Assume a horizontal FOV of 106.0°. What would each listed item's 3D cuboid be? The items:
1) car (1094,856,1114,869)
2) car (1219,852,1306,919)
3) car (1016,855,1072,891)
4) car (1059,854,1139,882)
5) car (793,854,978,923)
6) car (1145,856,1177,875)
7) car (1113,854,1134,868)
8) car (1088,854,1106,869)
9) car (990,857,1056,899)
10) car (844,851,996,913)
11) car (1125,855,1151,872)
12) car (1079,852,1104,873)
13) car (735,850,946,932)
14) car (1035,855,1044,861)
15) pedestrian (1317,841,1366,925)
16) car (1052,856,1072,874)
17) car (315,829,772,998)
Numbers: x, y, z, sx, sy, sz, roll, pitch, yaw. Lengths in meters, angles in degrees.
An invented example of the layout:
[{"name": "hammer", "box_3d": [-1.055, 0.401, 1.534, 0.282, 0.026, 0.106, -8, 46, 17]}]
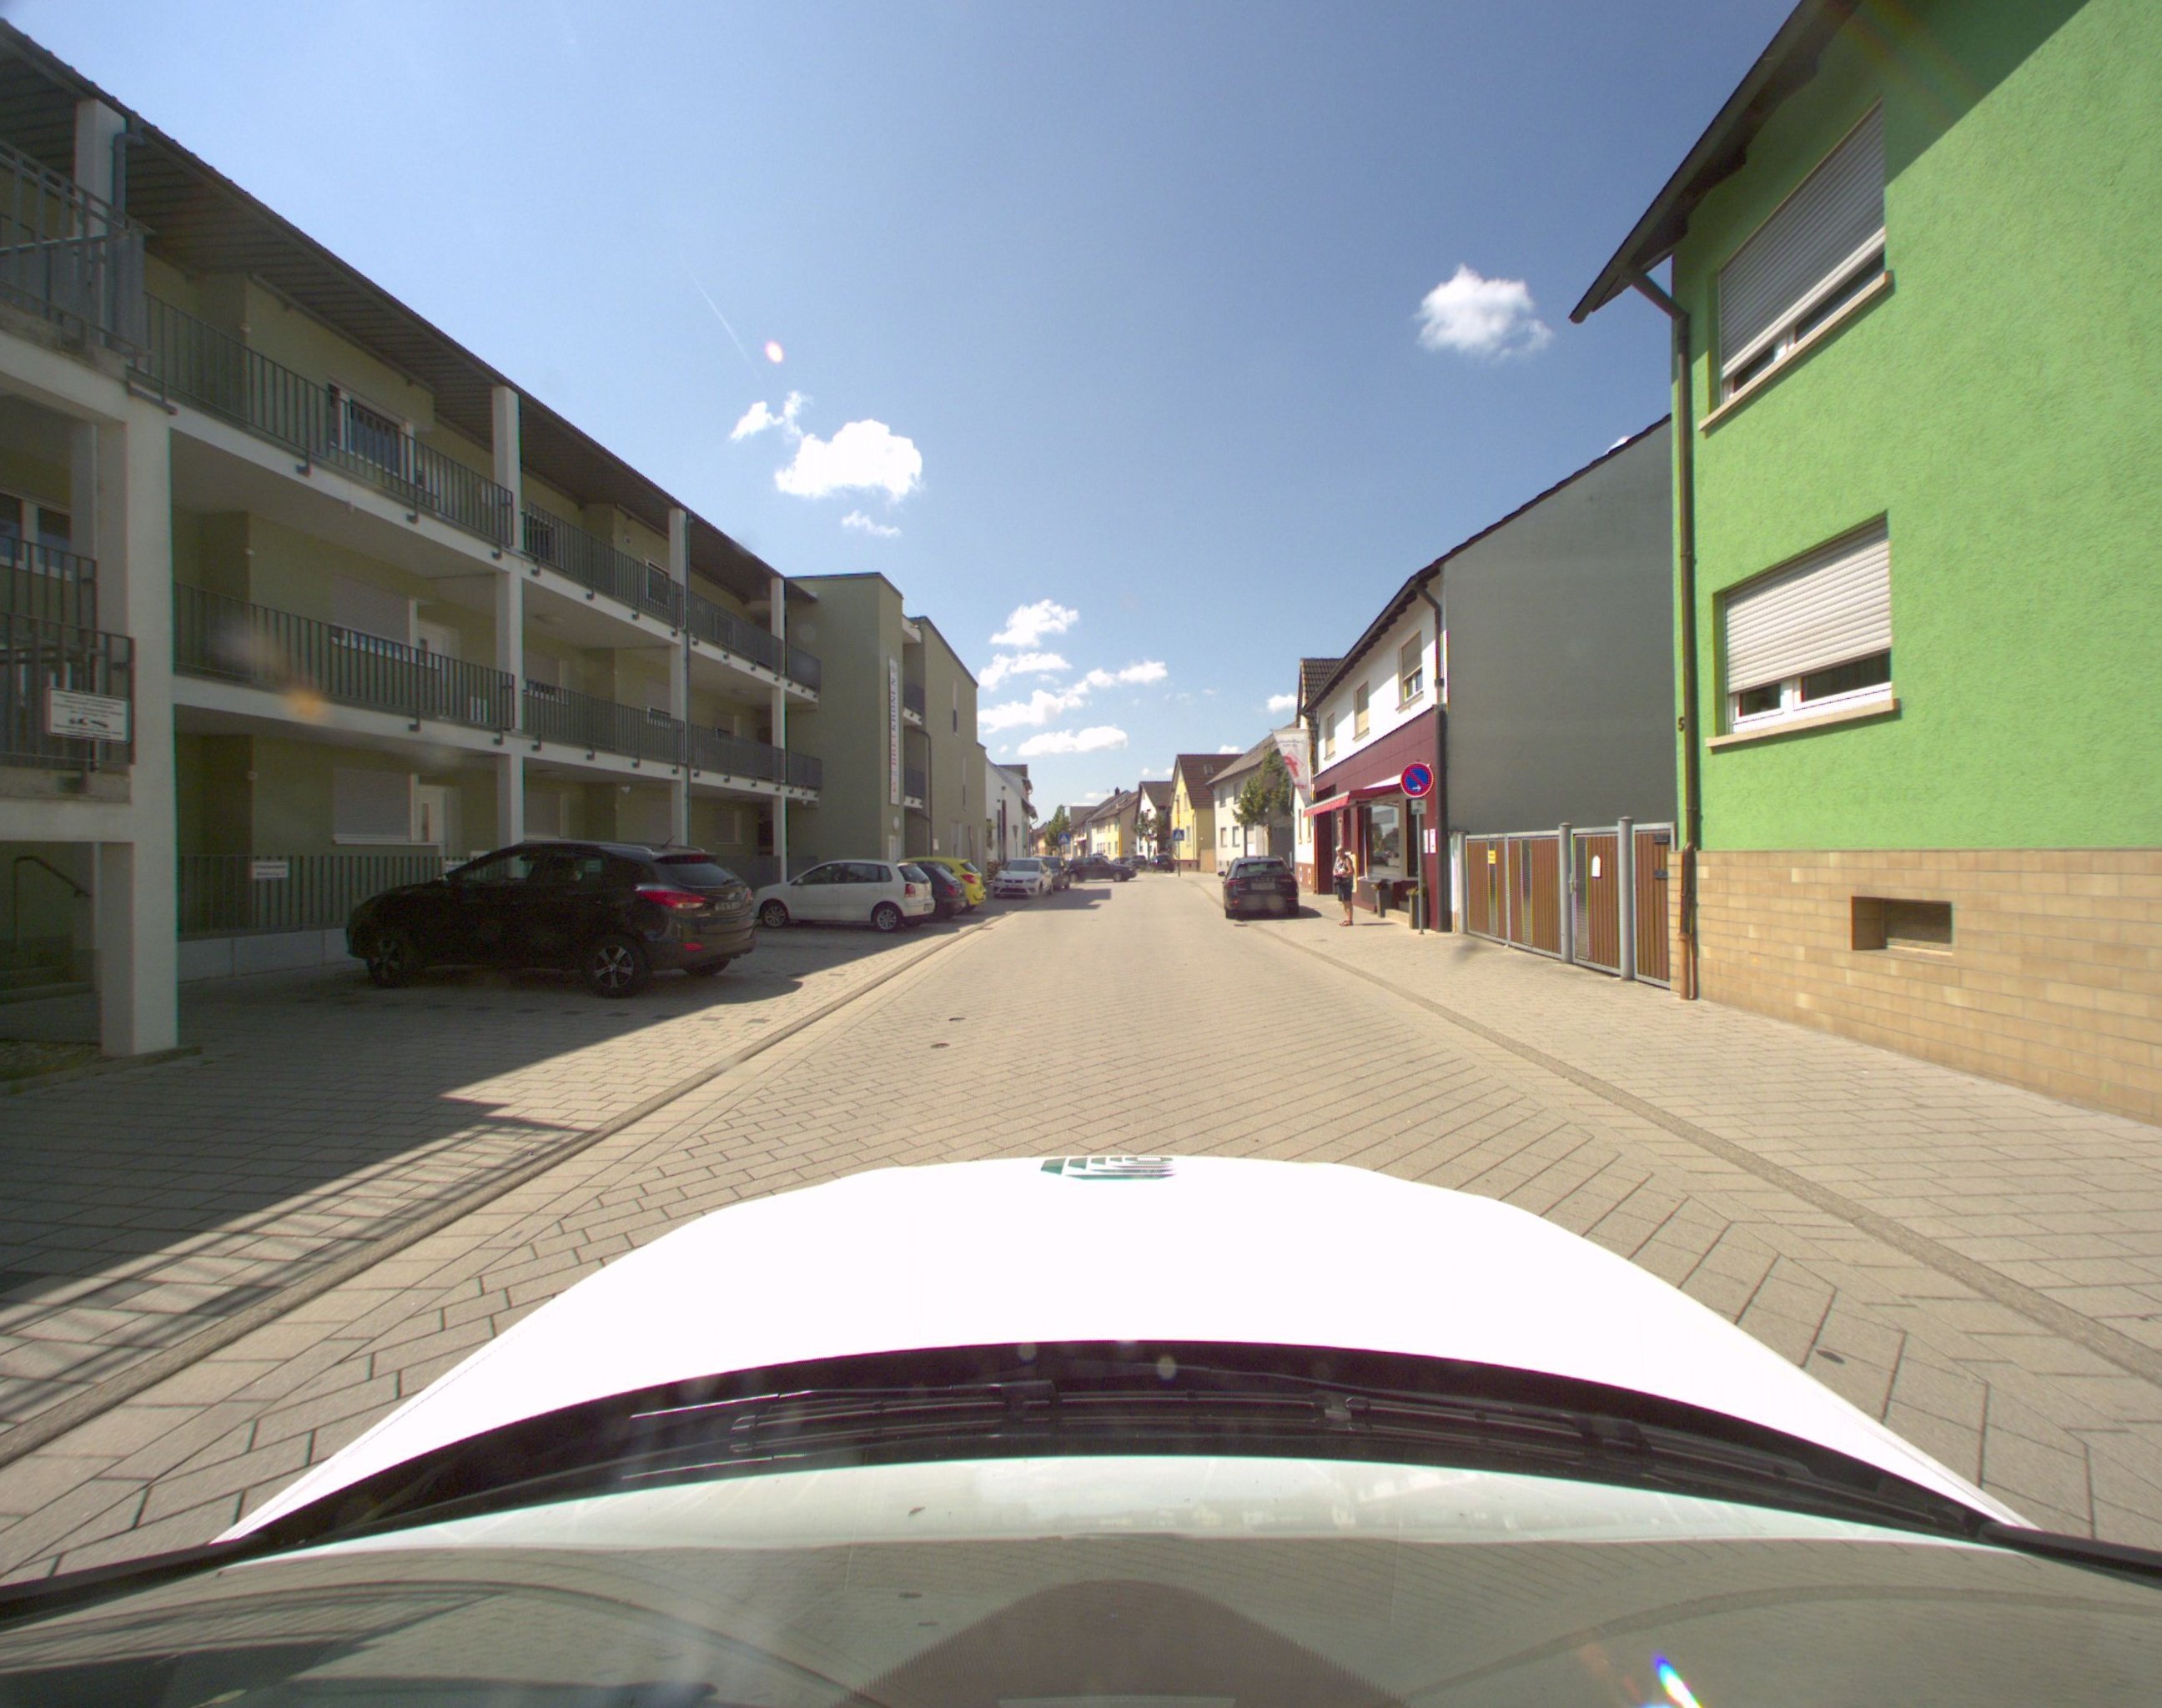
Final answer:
[{"name": "car", "box_3d": [2.757, 1.036, 98.813, 1.875, 1.591, 3.992, -1, 0, -6]}, {"name": "car", "box_3d": [4.540, 0.742, 20.930, 1.847, 1.459, 4.597, -3, -1, 9]}, {"name": "car", "box_3d": [-1.570, 0.789, 36.115, 1.804, 1.490, 4.285, 1, 0, 6]}, {"name": "car", "box_3d": [1.012, 0.762, 44.865, 4.078, 1.438, 1.771, -2, 0, 12]}, {"name": "car", "box_3d": [-4.683, 0.790, 19.805, 3.967, 1.441, 1.694, 2, 0, 6]}, {"name": "car", "box_3d": [6.646, 0.931, 67.845, 1.826, 1.471, 4.267, -3, -1, -6]}, {"name": "car", "box_3d": [4.406, 0.749, 84.928, 1.708, 1.387, 3.698, -1, 0, -6]}, {"name": "car", "box_3d": [2.020, 0.931, 104.418, 1.904, 1.872, 3.992, -1, 0, -6]}, {"name": "car", "box_3d": [-2.100, 0.846, 30.664, 1.749, 1.411, 3.884, 1, 0, 6]}, {"name": "car", "box_3d": [-4.353, 0.735, 22.303, 3.673, 1.525, 1.676, 2, 0, 6]}, {"name": "car", "box_3d": [5.372, 0.863, 77.444, 1.844, 1.562, 3.686, -1, 0, -6]}, {"name": "car", "box_3d": [1.045, 0.879, 83.117, 1.991, 2.058, 4.364, -1, 0, -6]}, {"name": "car", "box_3d": [-5.054, 0.744, 17.422, 3.880, 1.502, 1.754, 2, 0, 7]}, {"name": "car", "box_3d": [-9.178, 0.888, 179.102, 1.685, 1.452, 3.785, -1, 0, -6]}, {"name": "pedestrian", "box_3d": [5.282, 0.577, 16.564, 0.725, 1.640, 0.750, -4, -1, 8]}, {"name": "car", "box_3d": [-1.732, 0.991, 73.261, 1.743, 1.530, 3.996, 1, 0, -3]}, {"name": "car", "box_3d": [-6.087, 0.615, 9.533, 4.199, 1.658, 1.787, 2, 0, 5]}]
